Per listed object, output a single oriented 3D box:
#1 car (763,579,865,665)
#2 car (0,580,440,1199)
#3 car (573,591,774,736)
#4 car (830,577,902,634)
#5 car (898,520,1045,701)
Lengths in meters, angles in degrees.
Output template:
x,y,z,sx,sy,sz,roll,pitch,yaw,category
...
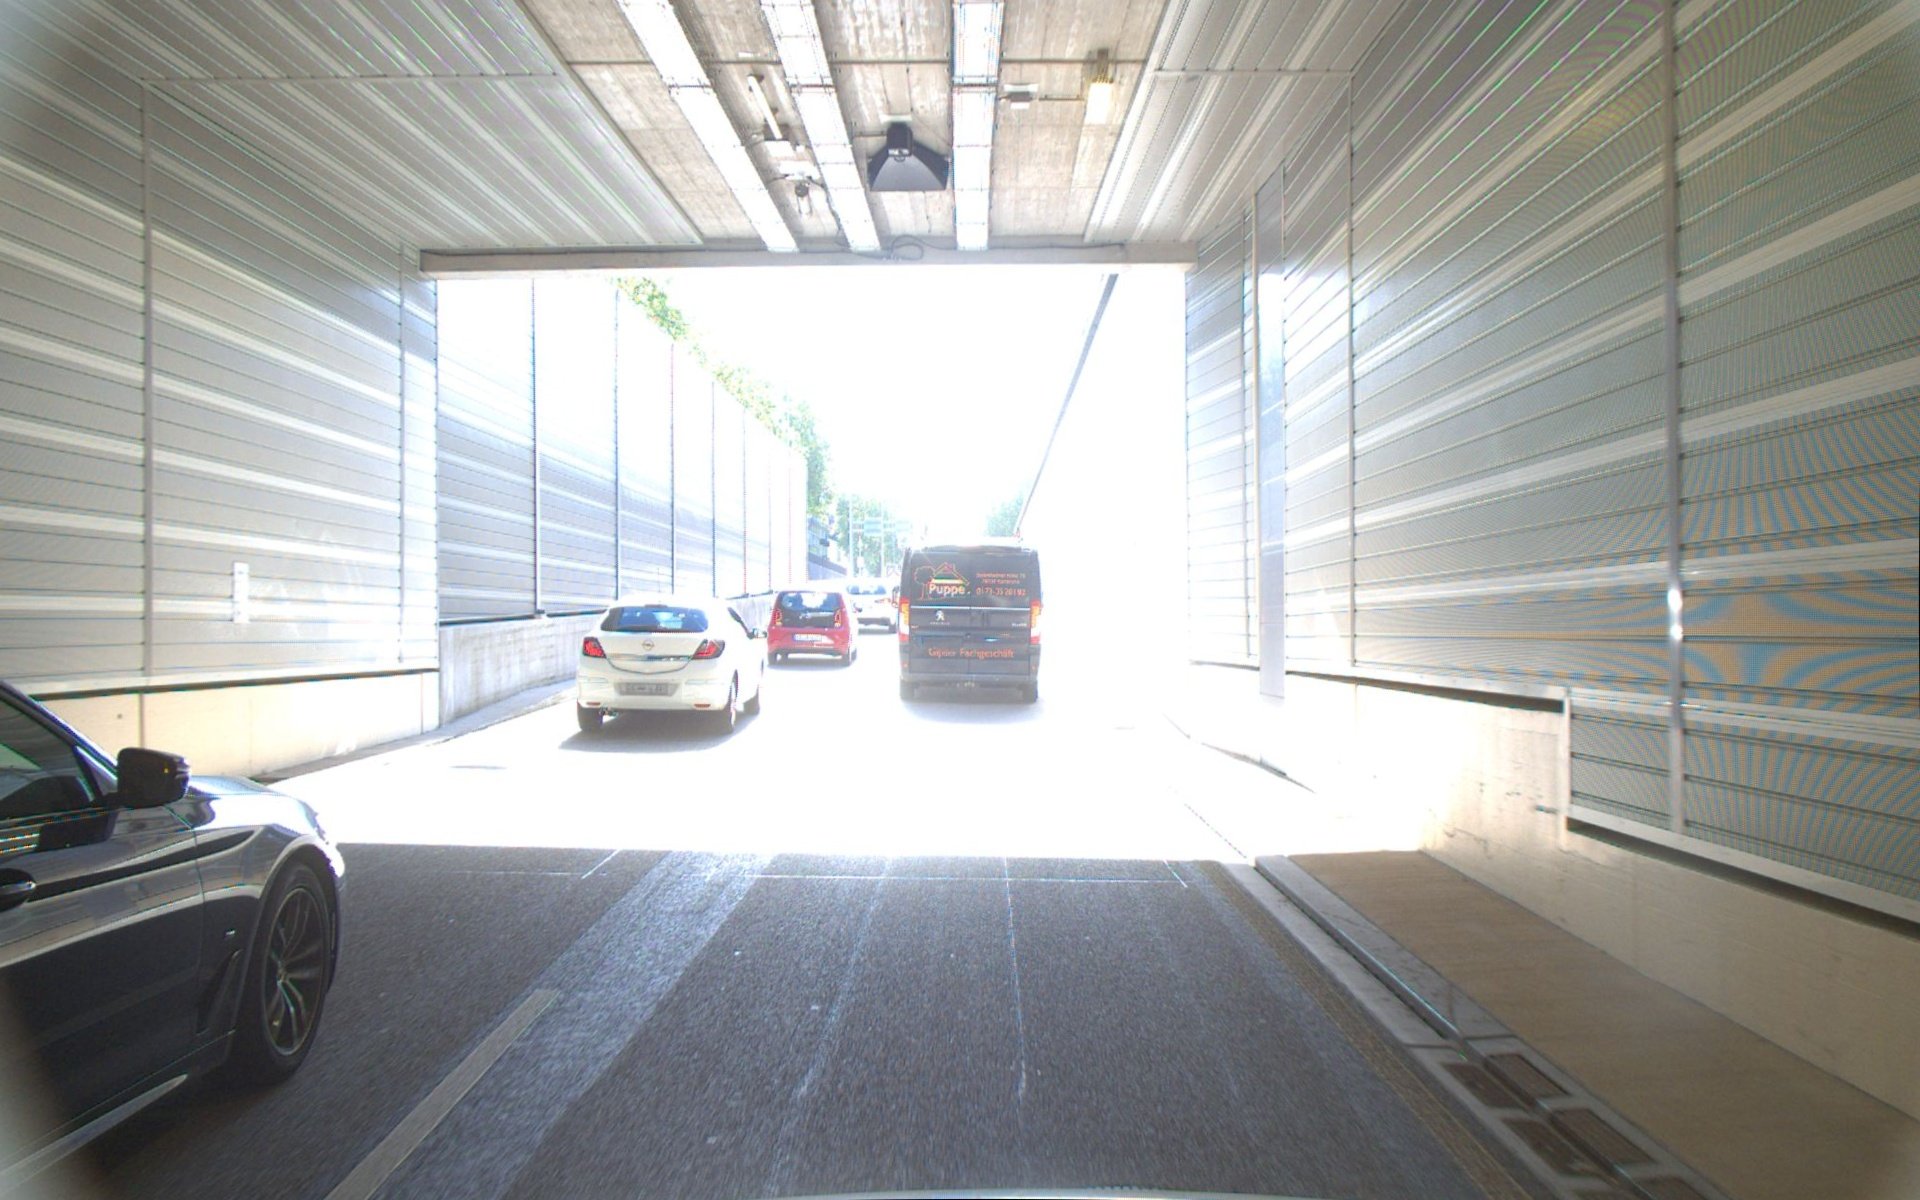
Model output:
x,y,z,sx,sy,sz,roll,pitch,yaw,category
-2.792,0.378,32.226,1.654,1.509,3.319,1,2,0,car
-2.798,0.682,3.531,1.771,1.464,5.002,1,0,0,car
-3.156,0.645,18.919,1.585,1.427,3.852,1,1,0,car
-2.653,0.124,47.375,1.853,1.500,3.991,1,1,-1,car
0.184,0.113,24.333,1.988,2.444,3.973,0,1,1,car
